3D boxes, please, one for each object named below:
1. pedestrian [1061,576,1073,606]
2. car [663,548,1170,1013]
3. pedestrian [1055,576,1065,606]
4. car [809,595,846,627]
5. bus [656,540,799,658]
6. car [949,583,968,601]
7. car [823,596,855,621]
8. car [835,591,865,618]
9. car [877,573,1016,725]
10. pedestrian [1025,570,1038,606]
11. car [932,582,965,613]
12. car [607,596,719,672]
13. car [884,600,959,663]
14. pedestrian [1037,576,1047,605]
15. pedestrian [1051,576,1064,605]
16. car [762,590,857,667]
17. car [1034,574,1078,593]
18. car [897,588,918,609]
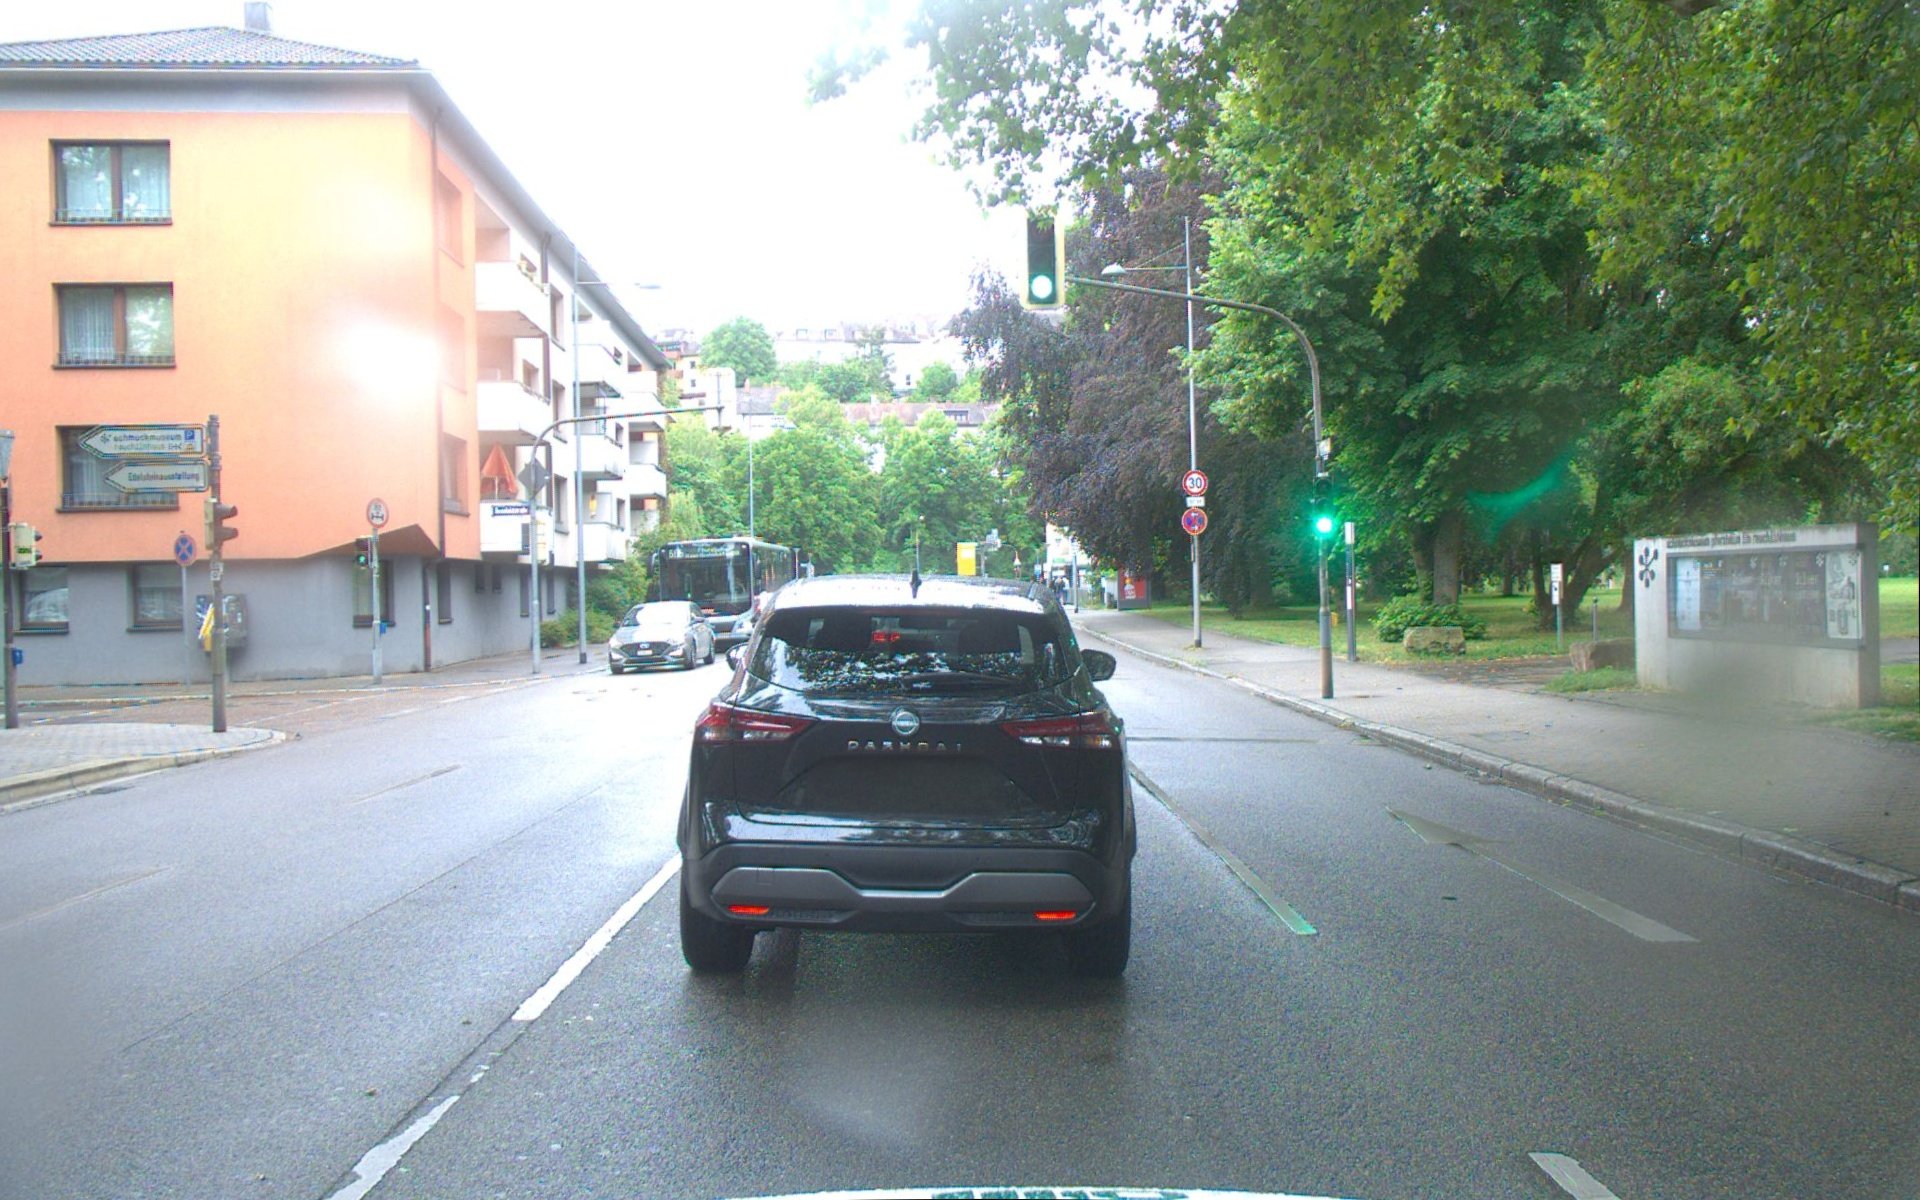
[{"bbox_3d":[6.523,-0.562,100.441,0.606,1.810,0.778,-2,0,-1],"label":"pedestrian"},{"bbox_3d":[-0.179,0.649,7.849,1.769,1.618,3.999,1,0,-1],"label":"car"},{"bbox_3d":[5.610,-0.515,92.990,0.504,1.684,0.550,1,-1,-1],"label":"pedestrian"},{"bbox_3d":[-6.813,0.537,85.138,1.643,1.495,4.215,-3,1,-2],"label":"car"},{"bbox_3d":[-6.692,-0.038,49.486,2.710,3.026,11.779,-1,0,-1],"label":"bus"},{"bbox_3d":[-0.183,-0.752,156.921,1.714,1.662,3.634,-2,1,0],"label":"car"},{"bbox_3d":[-7.085,0.475,96.945,1.643,1.318,3.750,-3,1,-2],"label":"car"},{"bbox_3d":[-7.255,0.270,109.300,1.714,1.662,3.634,-2,1,0],"label":"car"},{"bbox_3d":[-0.132,0.569,21.549,1.588,1.738,3.771,-2,0,1],"label":"car"},{"bbox_3d":[4.552,-0.764,105.404,0.752,2.222,0.711,1,-1,2],"label":"pedestrian"},{"bbox_3d":[-0.564,-0.145,83.143,1.591,1.439,3.454,-2,0,0],"label":"car"},{"bbox_3d":[-6.396,0.692,36.061,1.772,1.441,4.029,-3,1,-2],"label":"car"},{"bbox_3d":[-0.978,0.739,41.040,1.772,1.442,4.029,0,0,-2],"label":"car"},{"bbox_3d":[4.690,-0.551,94.682,0.533,1.680,0.490,1,-1,0],"label":"pedestrian"},{"bbox_3d":[5.555,-0.537,94.673,0.685,1.680,0.628,1,-1,0],"label":"pedestrian"},{"bbox_3d":[-3.027,0.544,33.783,1.591,1.439,3.454,-2,0,0],"label":"car"},{"bbox_3d":[9.519,-1.662,164.479,3.916,1.713,1.995,-2,0,-11],"label":"car"},{"bbox_3d":[-4.747,-0.171,148.729,1.728,1.788,3.634,-2,1,0],"label":"car"}]
